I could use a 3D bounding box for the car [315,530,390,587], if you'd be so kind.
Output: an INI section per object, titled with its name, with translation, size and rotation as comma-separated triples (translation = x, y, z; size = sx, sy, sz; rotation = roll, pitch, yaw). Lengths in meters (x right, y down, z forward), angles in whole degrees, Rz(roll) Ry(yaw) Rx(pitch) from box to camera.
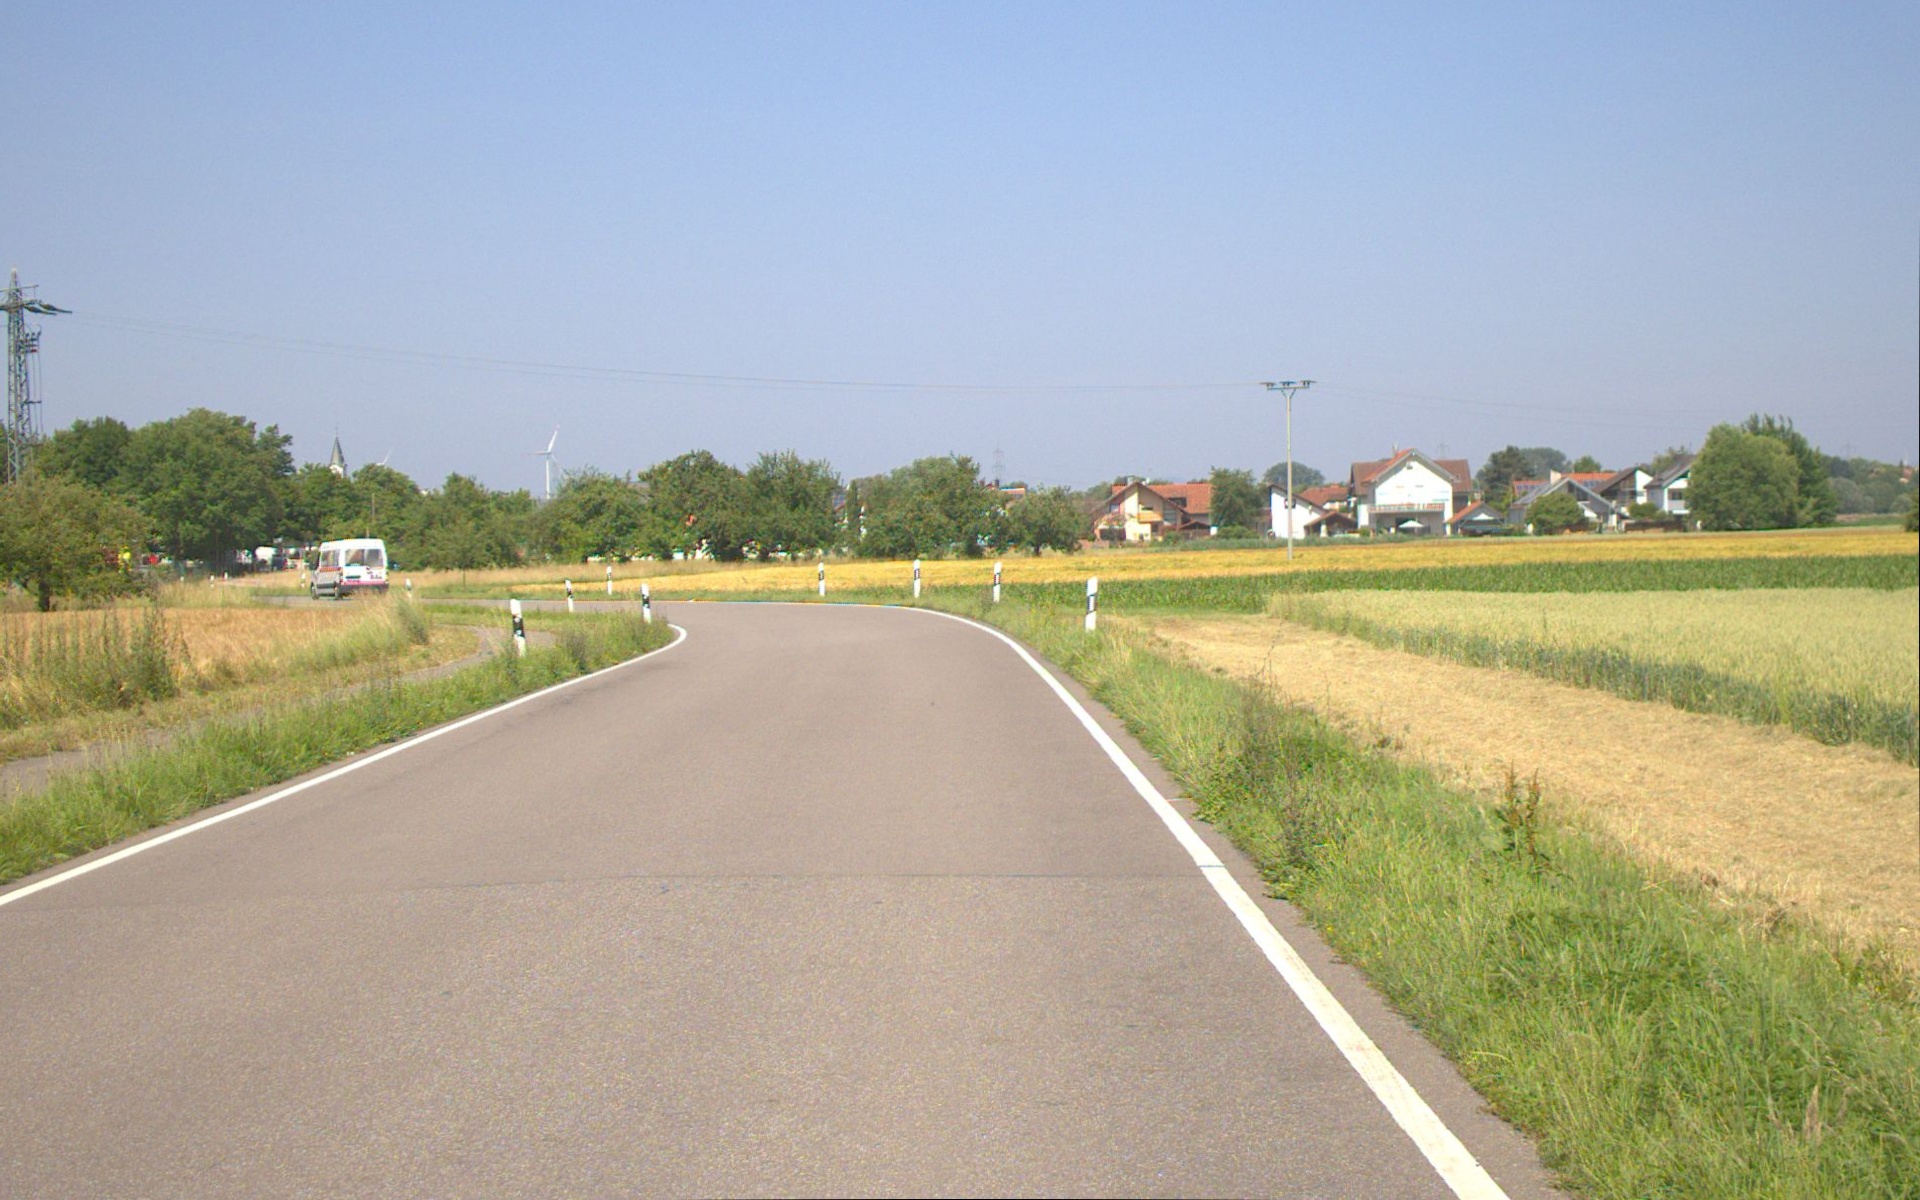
[car]
translation = -24.906, -1.701, 140.837
size = 1.993, 2.258, 4.727
rotation = -2, 1, -22
